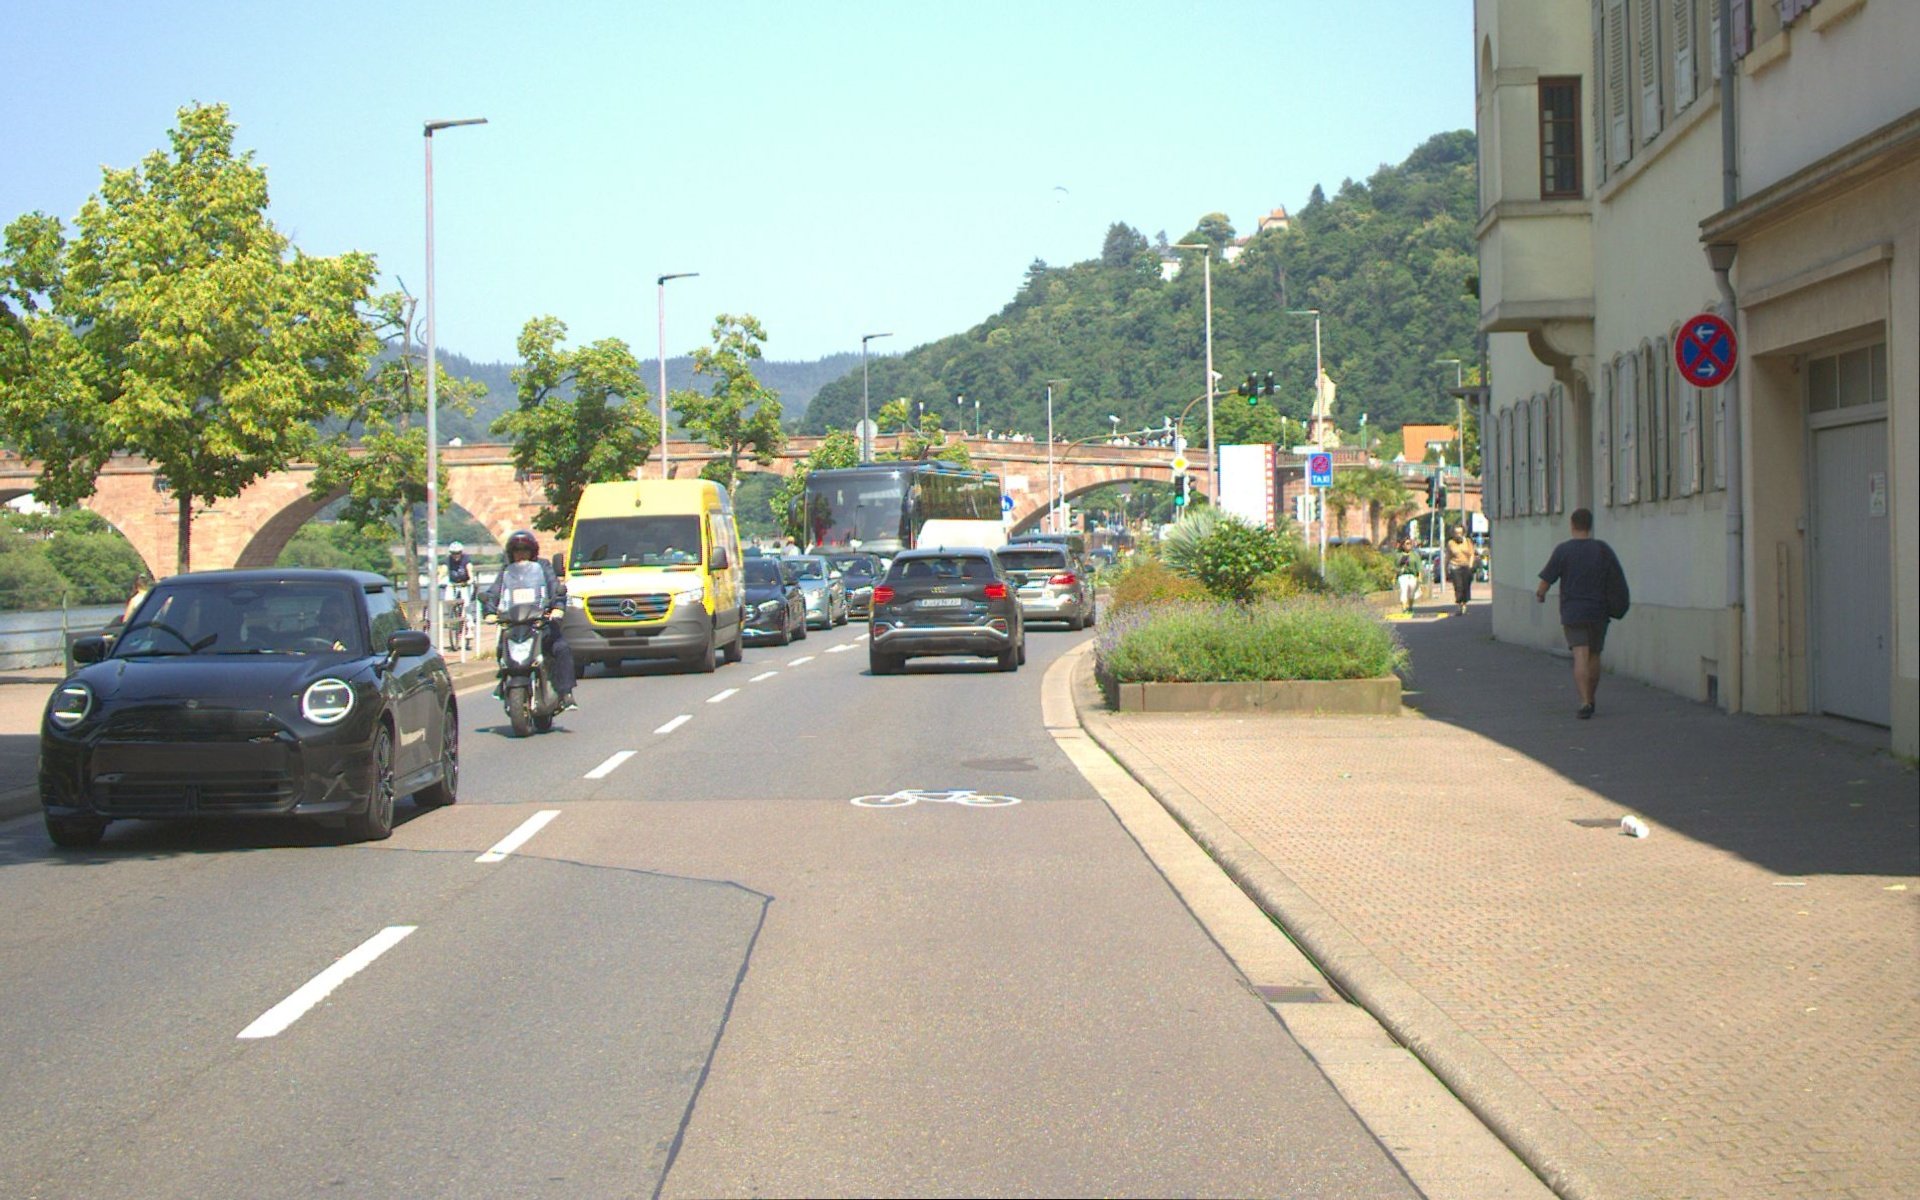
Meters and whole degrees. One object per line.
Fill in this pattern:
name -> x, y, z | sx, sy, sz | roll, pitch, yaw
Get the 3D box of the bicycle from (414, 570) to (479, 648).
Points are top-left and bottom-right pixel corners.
bicycle -> -8.013, 0.135, 53.689 | 0.711, 1.164, 1.896 | 0, 1, 0

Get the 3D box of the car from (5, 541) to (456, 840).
car -> -3.915, 0.435, 19.082 | 1.701, 1.453, 4.002 | -1, 0, -1

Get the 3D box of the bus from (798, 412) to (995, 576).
bus -> -1.351, -2.397, 83.015 | 2.632, 3.552, 12.978 | 0, 0, 8

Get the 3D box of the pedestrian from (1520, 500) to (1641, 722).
pedestrian -> 4.937, 0.084, 27.400 | 0.762, 1.708, 0.696 | -3, 0, 2

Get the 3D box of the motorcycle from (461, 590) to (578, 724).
motorcycle -> -3.733, 0.479, 29.294 | 0.883, 1.074, 2.328 | -1, -1, -5

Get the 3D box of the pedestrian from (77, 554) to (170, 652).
pedestrian -> -11.006, 0.037, 45.237 | 0.937, 1.276, 0.849 | 0, 0, 7

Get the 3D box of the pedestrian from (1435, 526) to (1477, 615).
pedestrian -> 9.616, -0.572, 66.683 | 0.738, 1.693, 0.933 | -1, 0, 7

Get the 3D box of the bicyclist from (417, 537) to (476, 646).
bicyclist -> -8.014, -0.140, 53.695 | 0.740, 1.662, 1.089 | -1, 1, 1

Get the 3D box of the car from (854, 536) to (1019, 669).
car -> -0.249, -0.009, 42.683 | 1.926, 1.548, 4.832 | 0, 1, 1

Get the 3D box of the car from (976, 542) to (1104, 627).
car -> 1.477, -0.310, 61.795 | 1.927, 1.456, 4.831 | 0, 1, 6

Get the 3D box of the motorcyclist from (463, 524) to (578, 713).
motorcyclist -> -3.744, 0.151, 29.356 | 0.878, 1.578, 1.025 | -1, 0, -2

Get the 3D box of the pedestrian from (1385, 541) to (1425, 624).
pedestrian -> 8.655, -0.345, 66.853 | 0.762, 1.590, 0.696 | 0, 1, 7

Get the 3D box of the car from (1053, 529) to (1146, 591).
car -> 3.443, -0.971, 84.244 | 1.927, 1.456, 4.831 | 0, 1, 6

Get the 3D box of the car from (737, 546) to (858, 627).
car -> -3.122, -0.287, 66.747 | 1.813, 1.423, 4.310 | -2, 1, 4

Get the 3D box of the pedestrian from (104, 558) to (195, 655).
pedestrian -> -10.895, 0.082, 46.236 | 0.937, 1.276, 0.849 | 0, 0, 7

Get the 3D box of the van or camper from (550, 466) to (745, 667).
van or camper -> -4.186, -0.459, 47.210 | 2.087, 2.548, 7.092 | 0, 0, 0

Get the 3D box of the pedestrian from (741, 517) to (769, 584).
pedestrian -> -5.399, -1.305, 90.633 | 0.620, 1.774, 0.662 | 0, 1, 7

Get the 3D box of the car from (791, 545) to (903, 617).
car -> -2.356, -0.420, 72.964 | 1.817, 1.424, 4.192 | -2, 1, 6

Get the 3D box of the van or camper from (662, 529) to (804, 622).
van or camper -> -3.811, -0.421, 58.471 | 1.993, 1.450, 4.682 | -2, 0, 1
